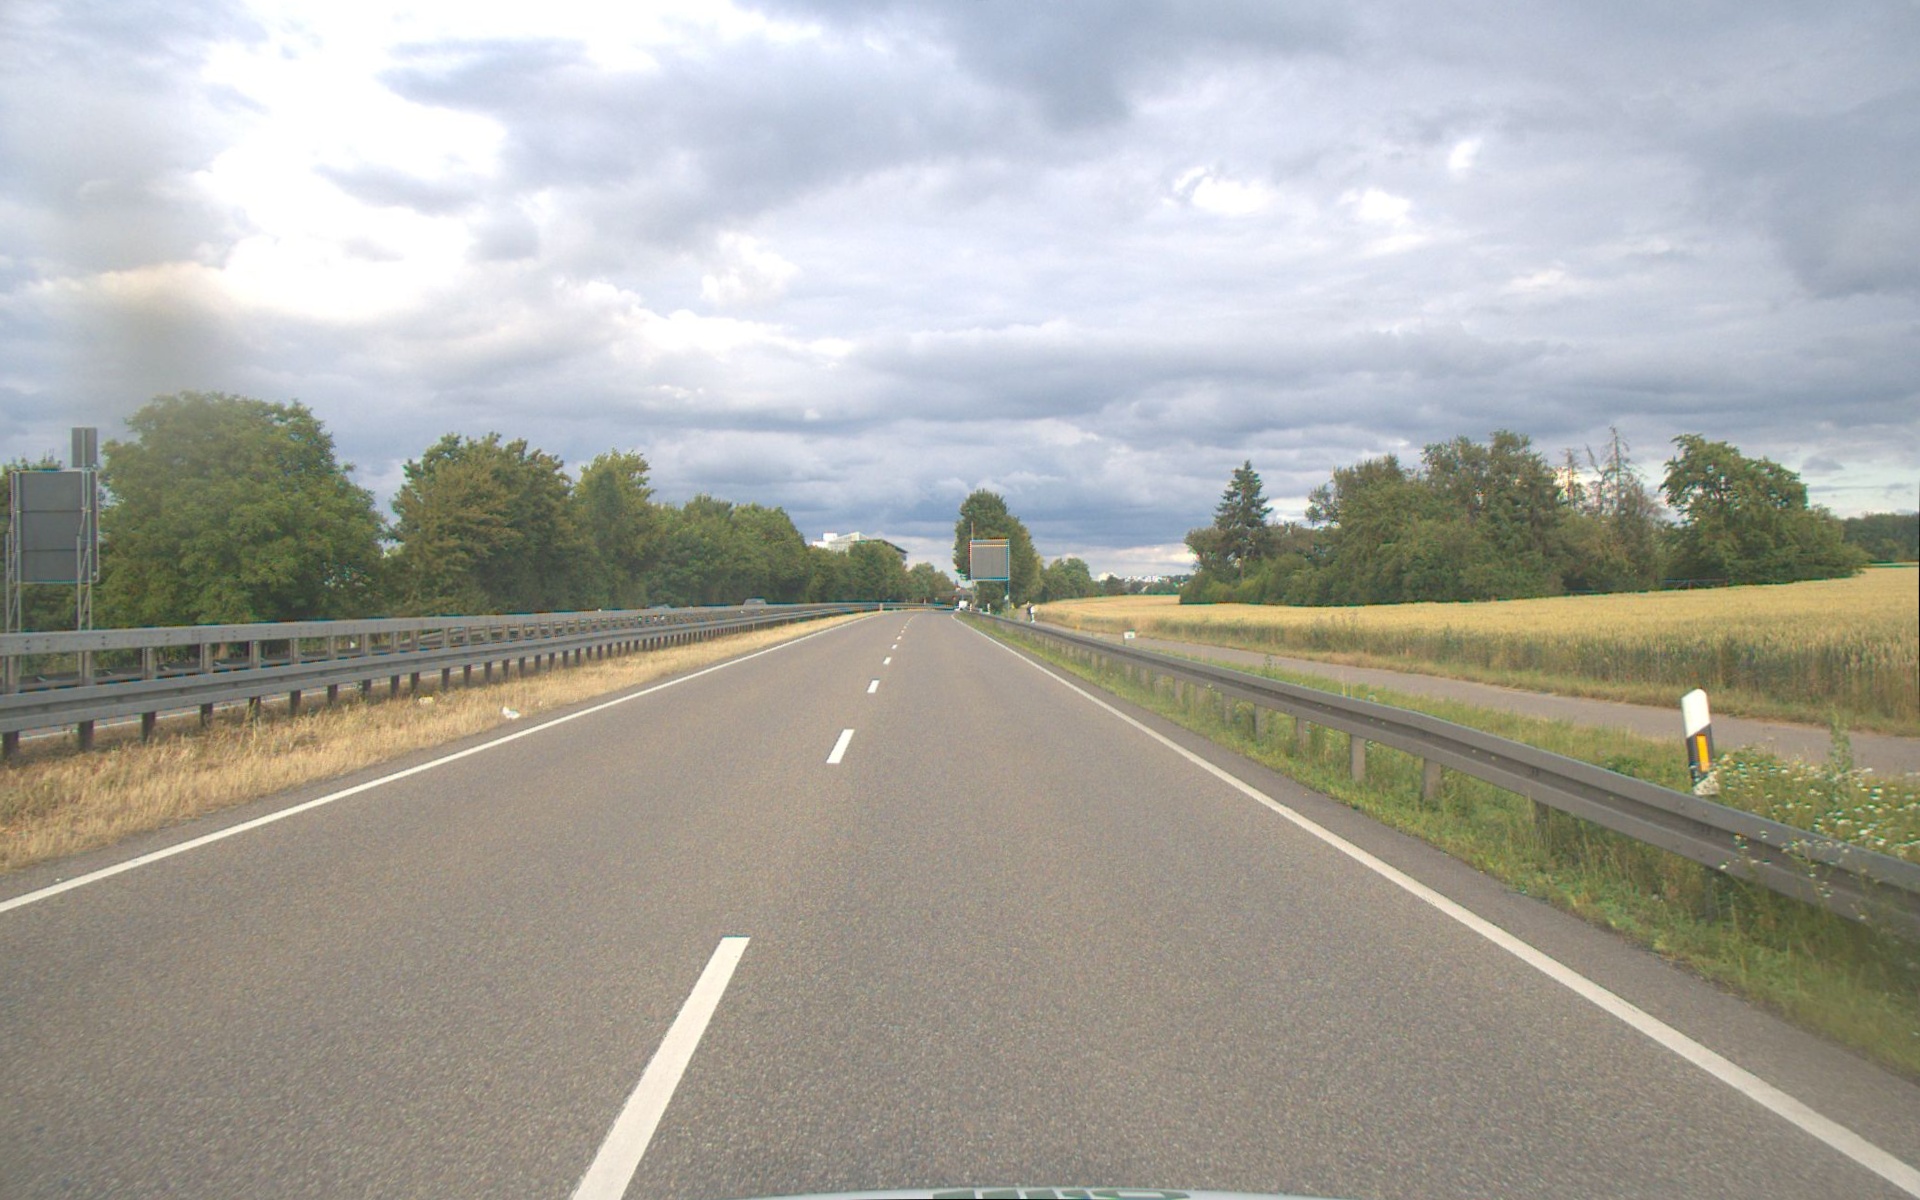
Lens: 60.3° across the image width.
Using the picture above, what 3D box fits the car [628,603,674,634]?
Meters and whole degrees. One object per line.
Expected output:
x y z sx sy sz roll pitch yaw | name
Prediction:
-17.833 1.042 95.563 1.761 1.654 4.483 -2 0 0 | car

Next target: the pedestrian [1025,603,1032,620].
6.898 1.197 166.592 0.589 1.695 0.542 1 -1 -3 | pedestrian
